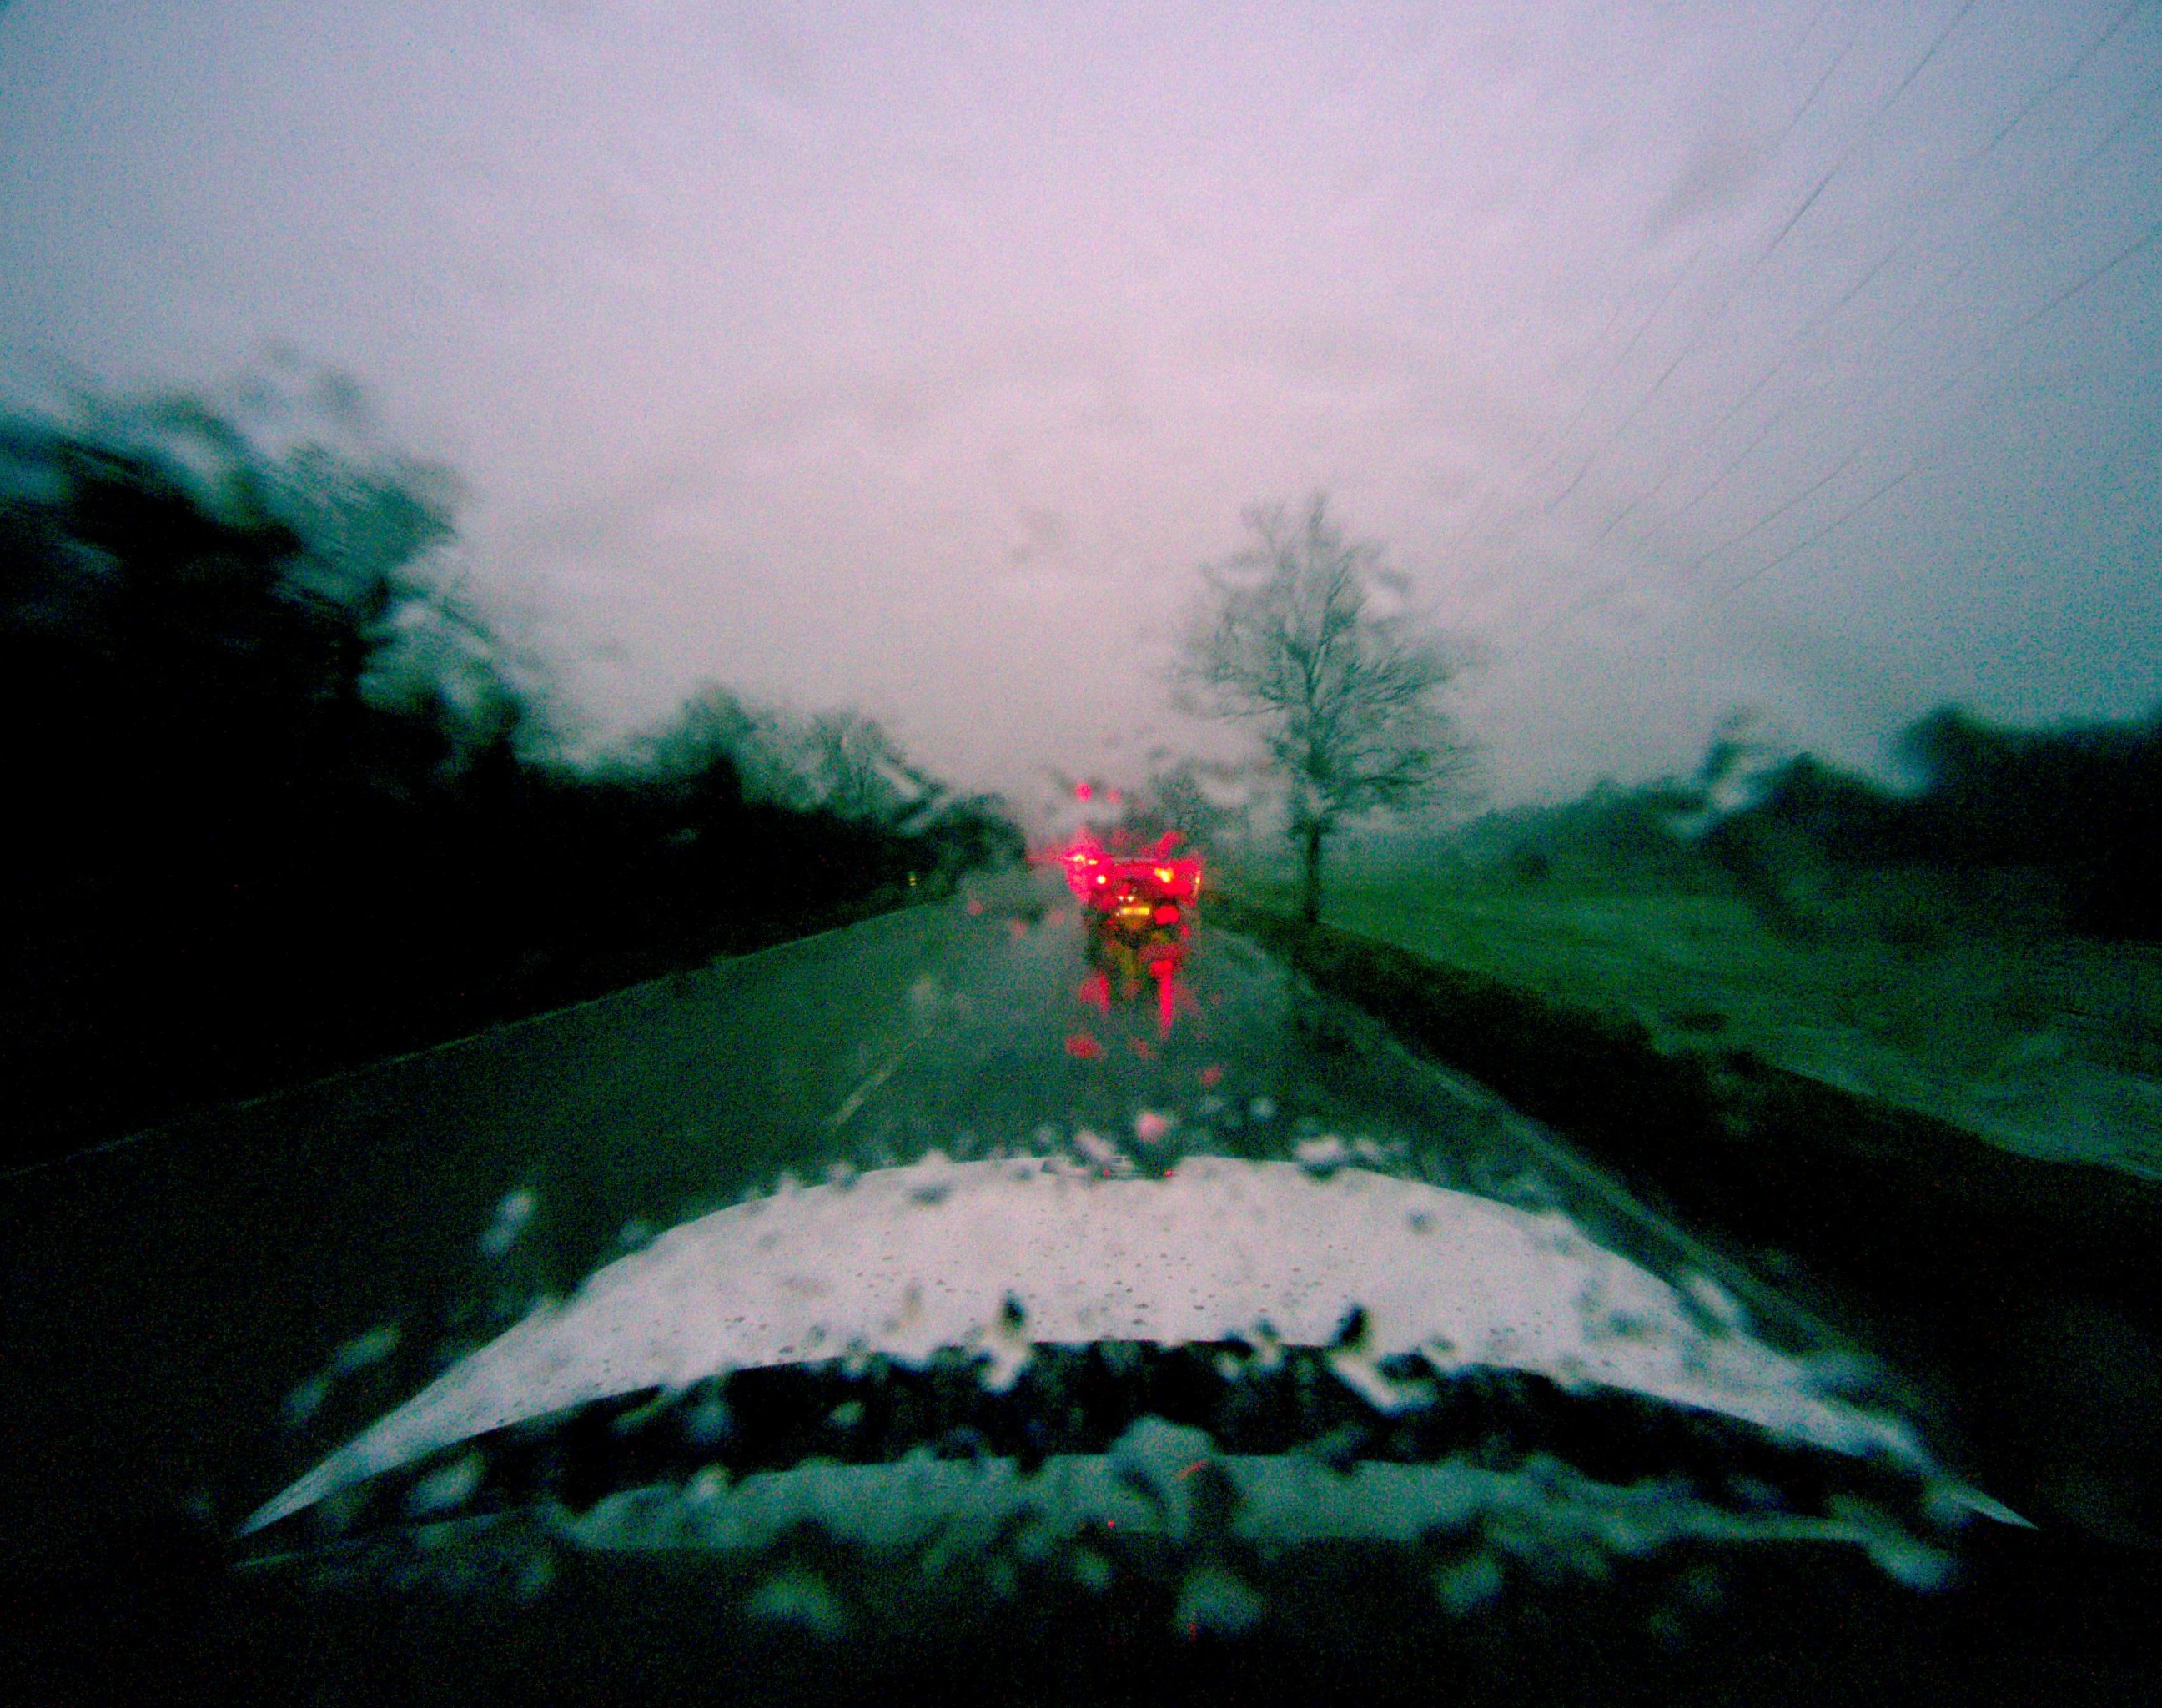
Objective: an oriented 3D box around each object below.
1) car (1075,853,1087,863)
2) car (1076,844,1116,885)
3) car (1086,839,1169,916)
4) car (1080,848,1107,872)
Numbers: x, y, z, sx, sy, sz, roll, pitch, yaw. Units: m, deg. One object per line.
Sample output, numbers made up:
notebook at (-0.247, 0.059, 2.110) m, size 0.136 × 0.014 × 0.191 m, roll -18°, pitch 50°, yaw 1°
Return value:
car at (-0.031, 0.672, 137.324) m, size 1.856 × 1.700 × 4.470 m, roll -1°, pitch 0°, yaw 2°
car at (0.835, 0.529, 42.225) m, size 1.844 × 2.013 × 4.005 m, roll 0°, pitch 0°, yaw 4°
car at (0.974, 0.435, 16.414) m, size 1.493 × 1.398 × 3.203 m, roll 0°, pitch 0°, yaw 4°
car at (0.963, 0.402, 61.270) m, size 1.856 × 1.700 × 4.470 m, roll -1°, pitch 0°, yaw 2°
